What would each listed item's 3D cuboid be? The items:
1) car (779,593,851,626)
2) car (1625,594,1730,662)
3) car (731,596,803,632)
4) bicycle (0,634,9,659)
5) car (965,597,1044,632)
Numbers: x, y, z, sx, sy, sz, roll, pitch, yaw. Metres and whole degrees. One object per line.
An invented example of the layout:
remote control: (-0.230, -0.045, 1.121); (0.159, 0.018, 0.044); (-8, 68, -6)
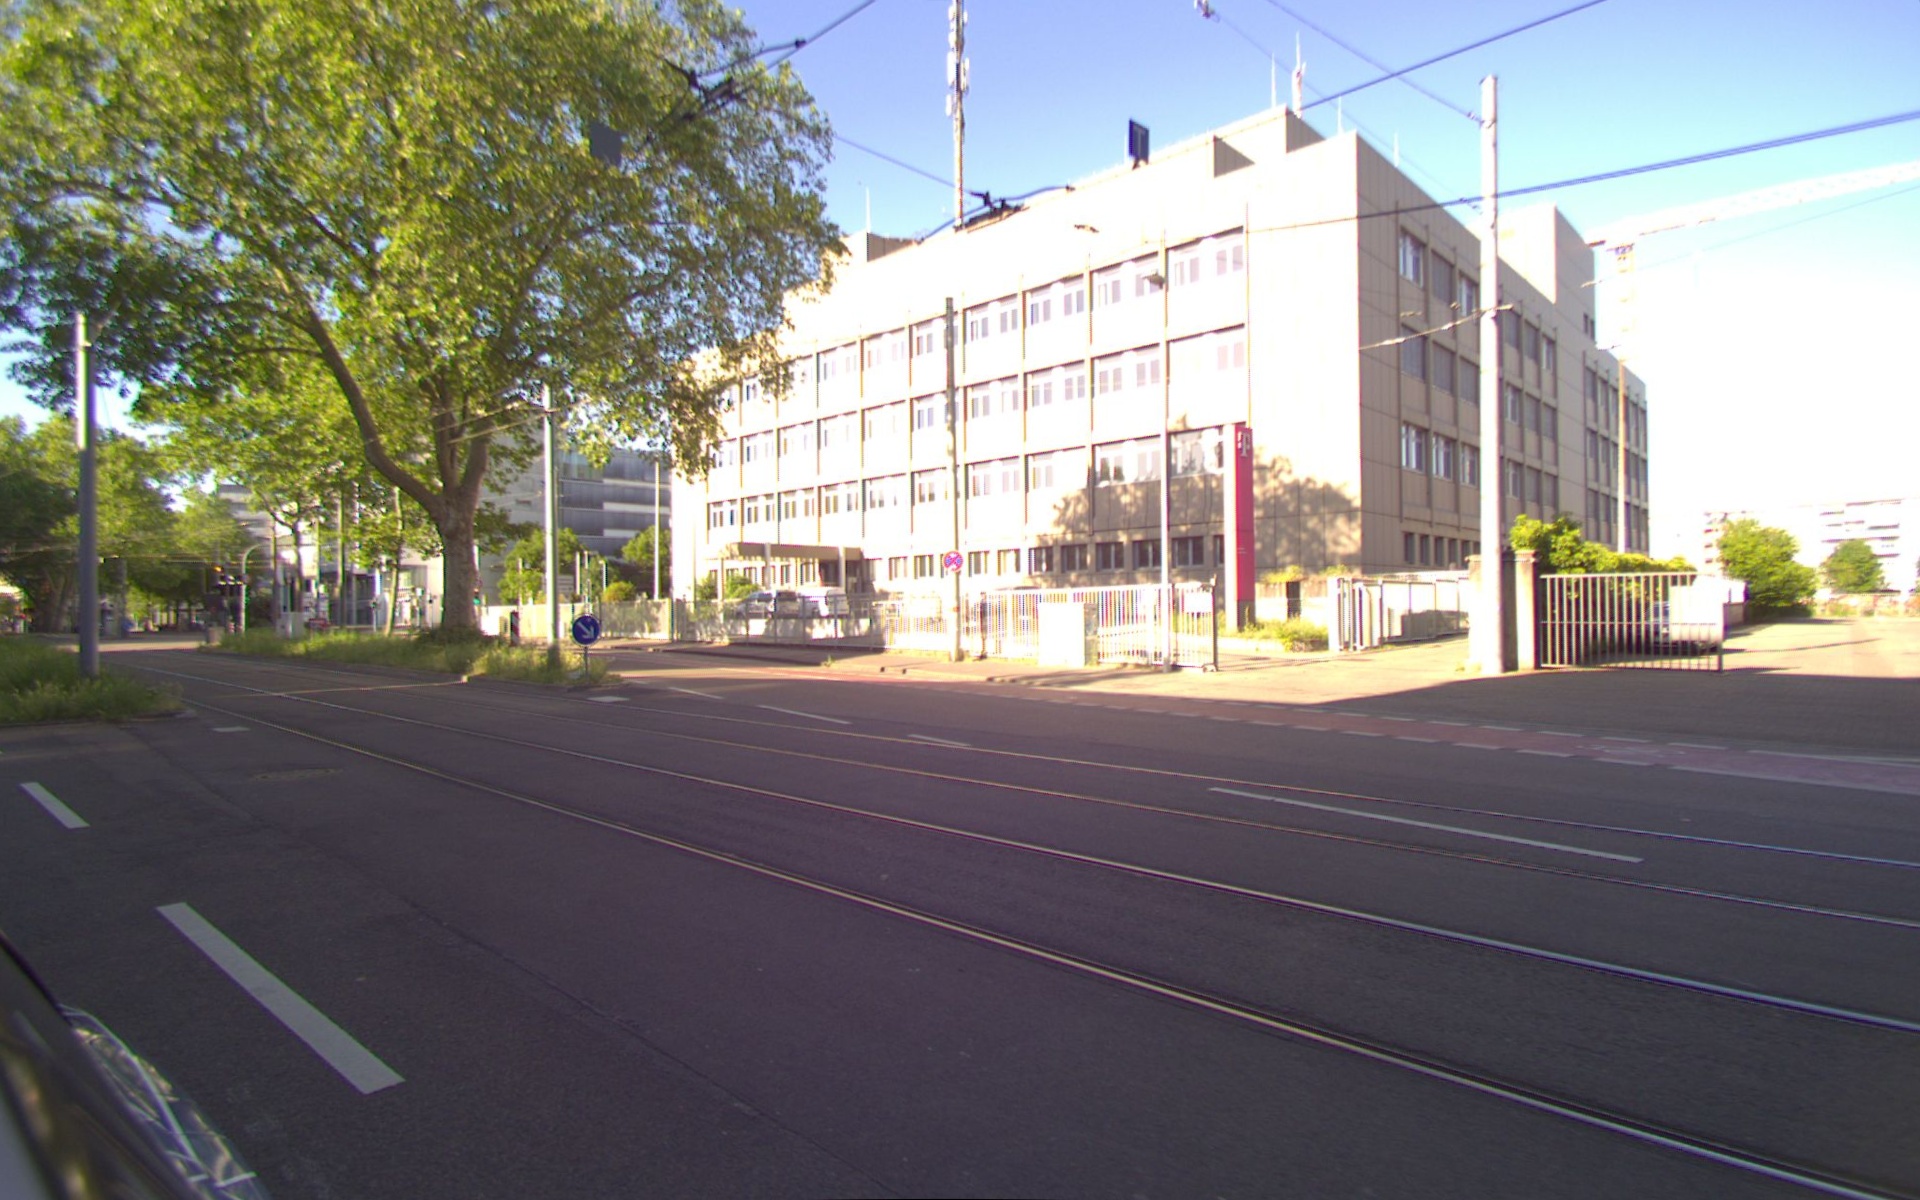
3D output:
car: (-8.075, 0.556, 56.230); (4.000, 1.765, 1.827); (-1, -1, 43)
car: (19.866, 0.718, 27.962); (1.853, 1.732, 4.221); (-1, -1, 42)
car: (-10.439, 0.751, 54.598); (4.000, 1.831, 1.827); (-1, -1, 43)
bicycle: (-43.854, 2.102, 45.135); (0.760, 1.137, 2.056); (-1, -1, 41)
car: (2.362, 0.720, 52.667); (1.853, 1.732, 4.221); (-1, -1, 42)
